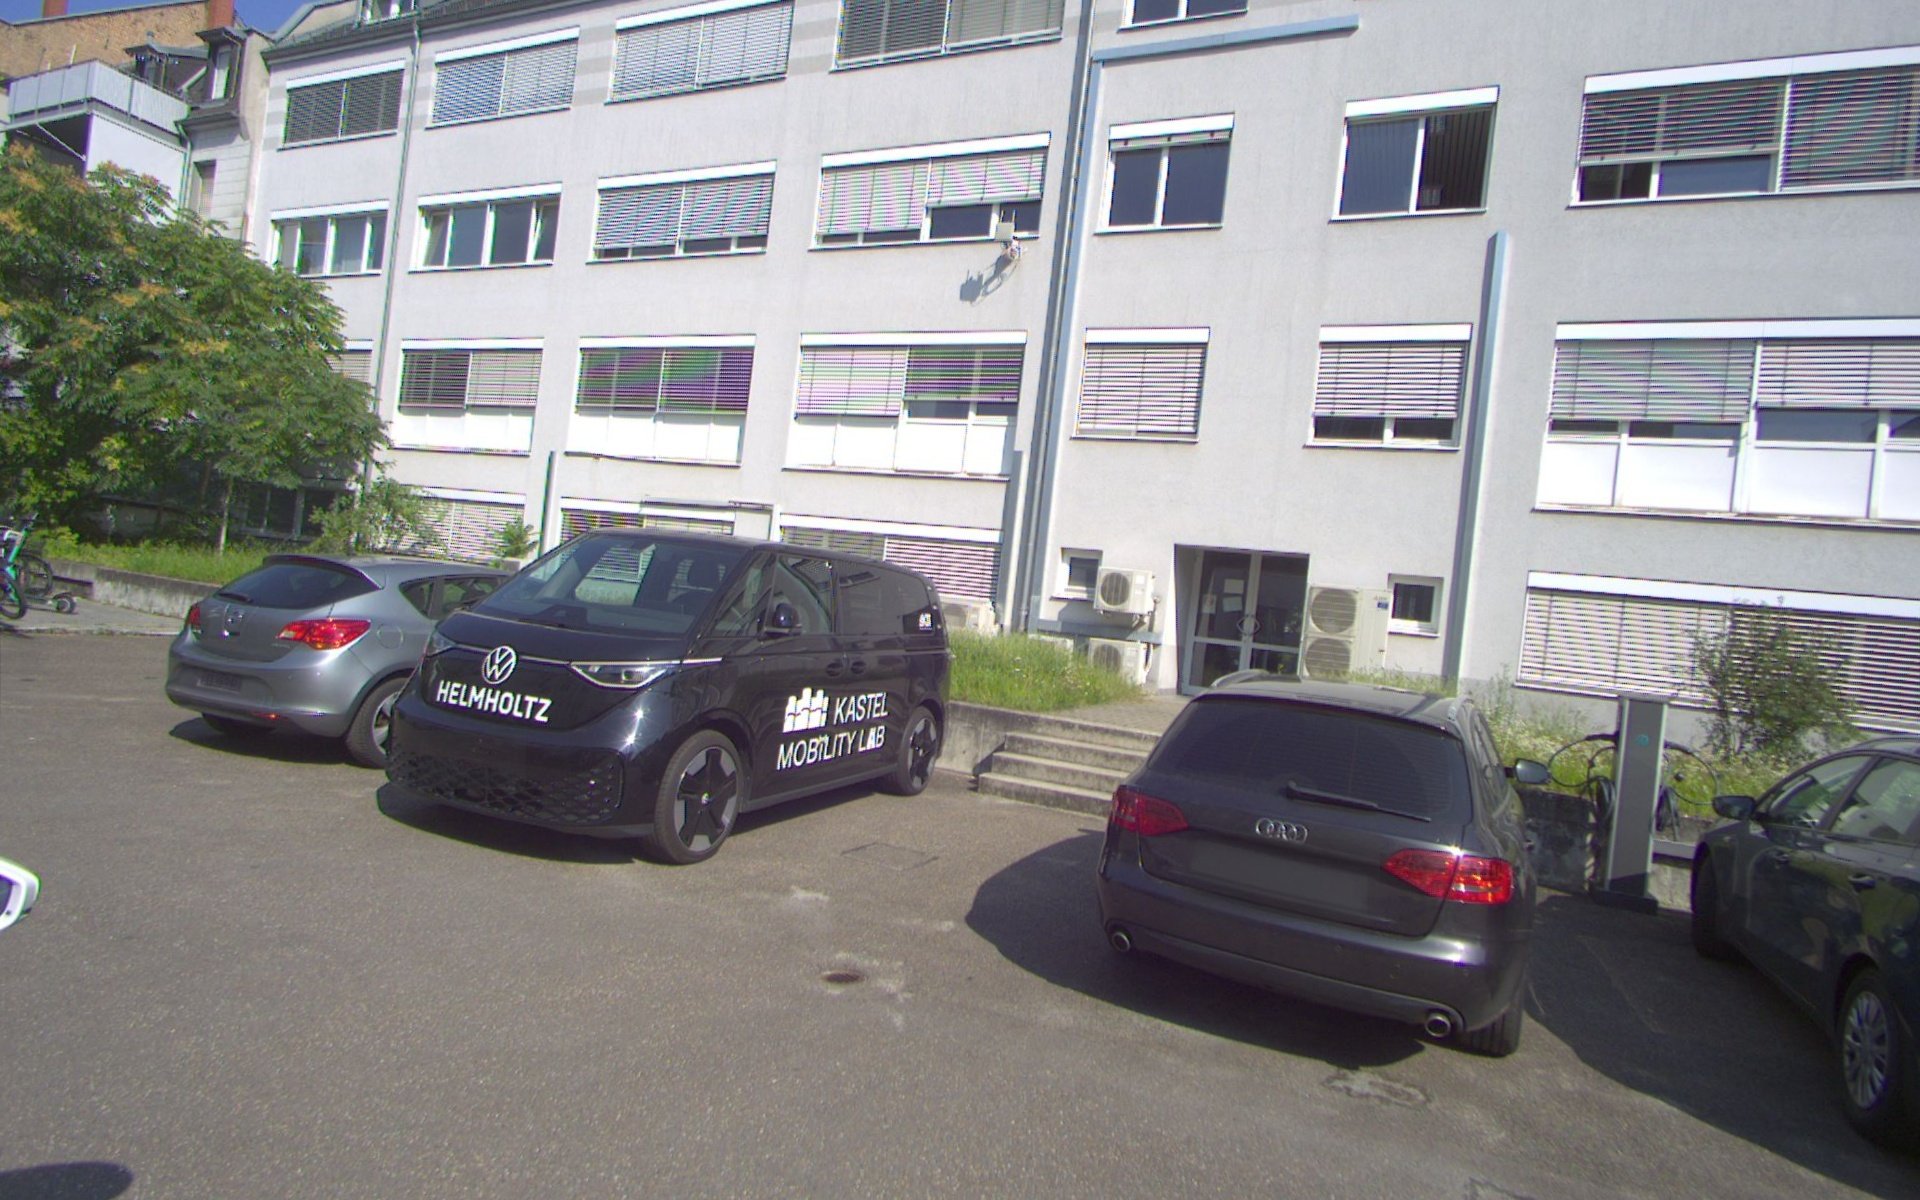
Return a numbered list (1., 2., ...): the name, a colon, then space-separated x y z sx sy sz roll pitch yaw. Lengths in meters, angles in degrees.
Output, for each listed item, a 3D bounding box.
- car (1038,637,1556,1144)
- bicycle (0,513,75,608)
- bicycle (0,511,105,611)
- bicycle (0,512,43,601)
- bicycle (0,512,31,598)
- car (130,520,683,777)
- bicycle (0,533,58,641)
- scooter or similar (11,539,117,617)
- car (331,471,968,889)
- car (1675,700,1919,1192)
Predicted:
1. car: 2.131 1.112 5.518 1.661 1.455 4.241 7 -1 29
2. bicycle: -13.888 -0.653 13.852 0.517 1.261 2.416 7 -2 31
3. bicycle: -13.265 -0.602 13.633 0.517 1.261 2.416 7 -2 31
4. bicycle: -14.621 -0.751 14.141 0.517 1.261 2.416 7 -2 31
5. bicycle: -15.123 -0.798 14.481 0.517 1.261 2.416 7 -2 31
6. car: -4.200 0.388 8.437 1.631 1.483 3.911 7 -1 17
7. bicycle: -11.438 -0.235 11.185 1.967 1.158 0.487 7 1 -22
8. scooter or similar: -12.407 -0.296 13.950 0.982 0.935 0.360 7 -1 -7
9. car: -1.676 0.468 7.155 1.879 1.881 4.349 7 -1 21
10. car: 4.629 1.340 4.339 1.711 1.496 4.057 7 -1 26
